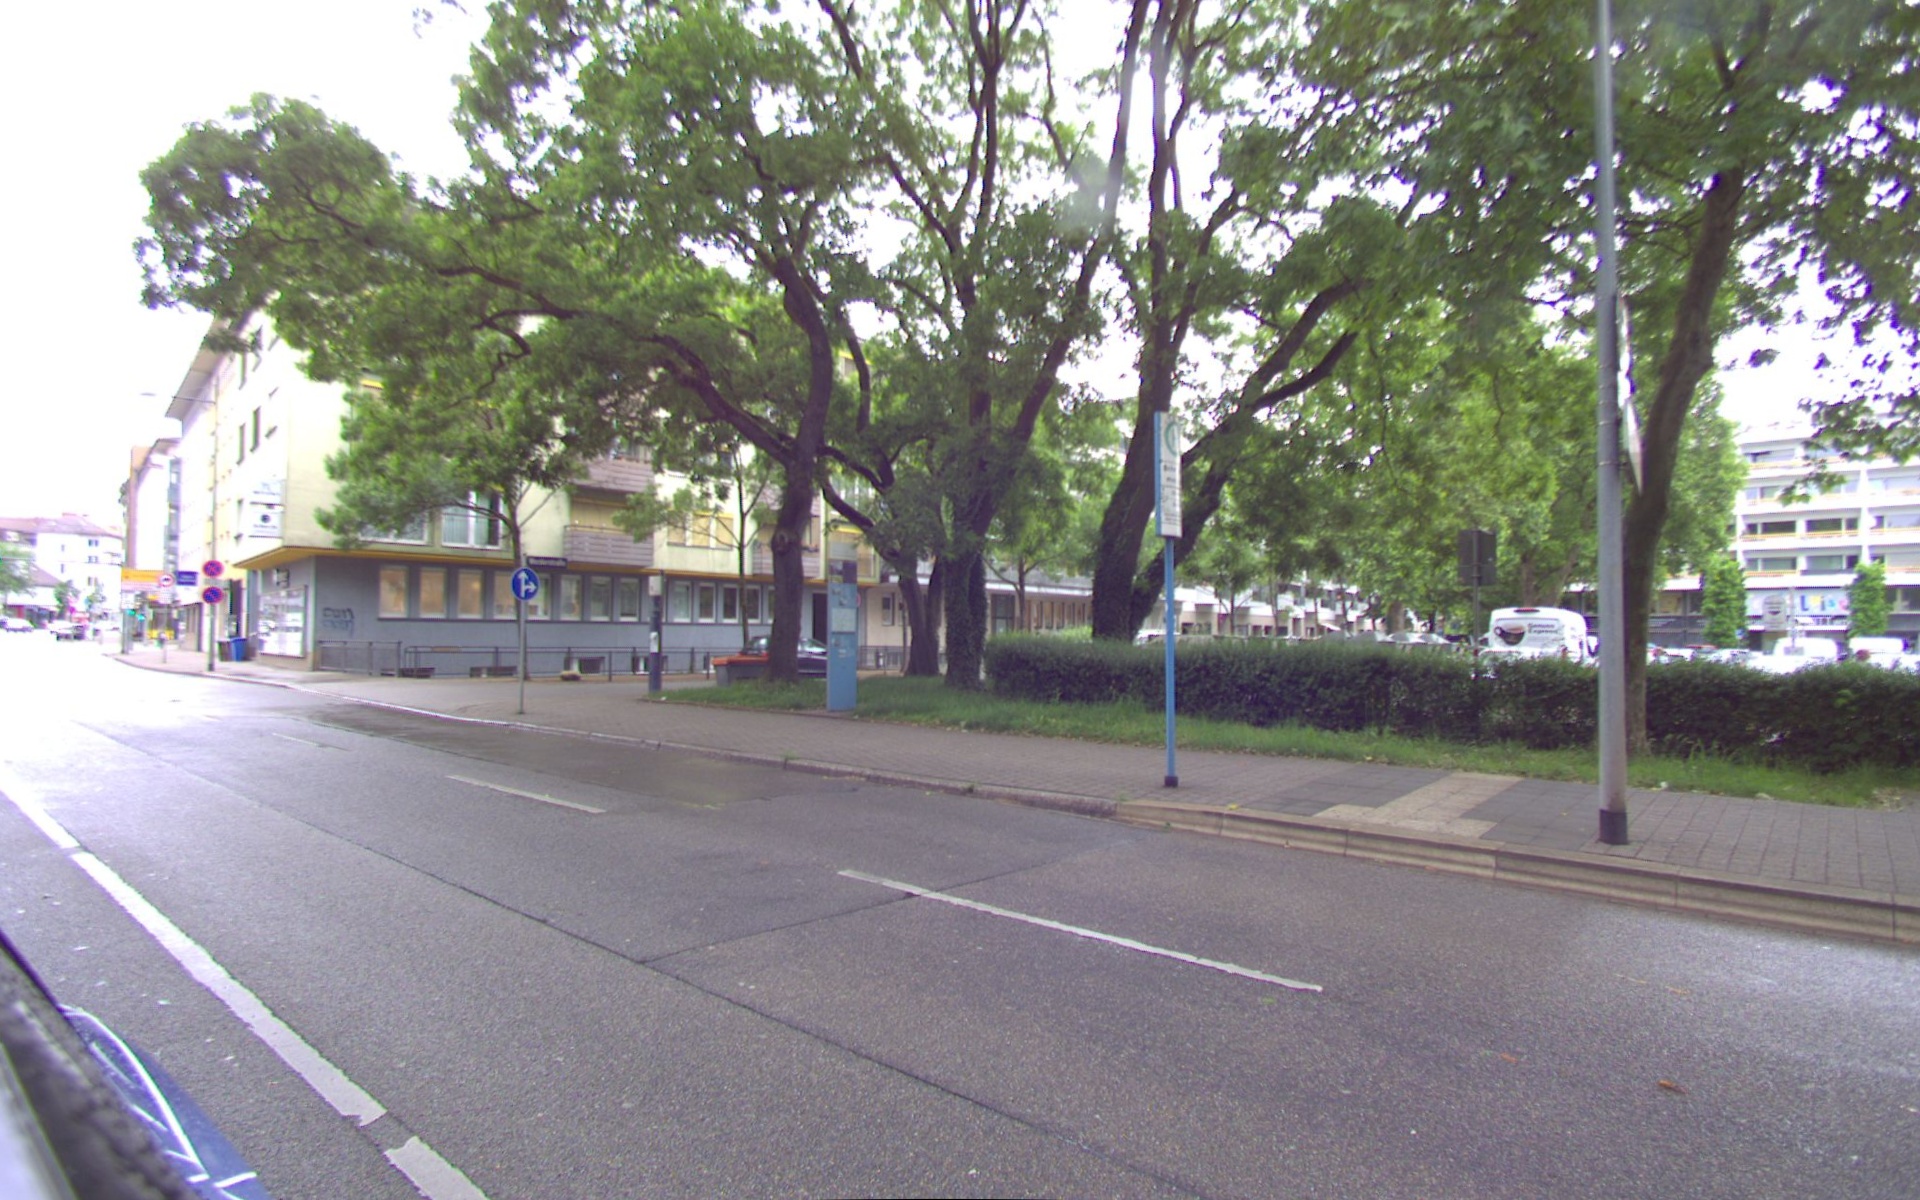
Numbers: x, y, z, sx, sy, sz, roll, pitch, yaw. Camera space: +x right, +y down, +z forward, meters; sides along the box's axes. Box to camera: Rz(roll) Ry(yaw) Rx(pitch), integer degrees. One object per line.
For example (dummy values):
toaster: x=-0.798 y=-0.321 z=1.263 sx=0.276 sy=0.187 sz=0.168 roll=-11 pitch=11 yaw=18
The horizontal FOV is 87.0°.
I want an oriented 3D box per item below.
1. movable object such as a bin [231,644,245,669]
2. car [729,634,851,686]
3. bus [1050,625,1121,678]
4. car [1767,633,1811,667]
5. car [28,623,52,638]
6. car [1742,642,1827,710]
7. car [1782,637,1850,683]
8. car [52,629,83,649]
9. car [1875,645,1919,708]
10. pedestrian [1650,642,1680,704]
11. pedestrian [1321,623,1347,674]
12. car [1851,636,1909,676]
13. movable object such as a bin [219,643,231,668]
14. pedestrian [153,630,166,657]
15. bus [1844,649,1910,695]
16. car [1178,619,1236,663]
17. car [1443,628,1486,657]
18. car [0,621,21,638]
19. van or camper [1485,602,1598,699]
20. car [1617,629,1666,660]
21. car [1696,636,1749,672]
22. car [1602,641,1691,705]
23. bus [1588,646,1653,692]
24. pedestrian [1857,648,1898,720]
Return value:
movable object such as a bin: x=-29.874 y=2.333 z=41.888 sx=0.409 sy=1.037 sz=0.354 roll=3 pitch=-4 yaw=-42
car: x=-5.201 y=1.853 z=31.290 sx=1.571 sy=1.500 sz=3.518 roll=-1 pitch=-4 yaw=41
bus: x=4.839 y=1.962 z=38.692 sx=1.703 sy=1.939 sz=3.697 roll=0 pitch=-3 yaw=24
car: x=41.987 y=2.492 z=51.306 sx=1.639 sy=1.536 sz=3.161 roll=-1 pitch=0 yaw=38
car: x=-106.615 y=3.563 z=117.246 sx=4.002 sy=1.670 sz=1.842 roll=-2 pitch=-4 yaw=45
car: x=19.240 y=1.735 z=23.569 sx=1.391 sy=1.446 sz=3.227 roll=-2 pitch=-4 yaw=41
car: x=28.176 y=1.958 z=33.356 sx=1.604 sy=1.439 sz=3.275 roll=-1 pitch=-3 yaw=40
car: x=-82.237 y=3.585 z=93.259 sx=4.002 sy=1.730 sz=1.863 roll=-2 pitch=-4 yaw=45
car: x=23.418 y=1.863 z=24.811 sx=1.391 sy=1.446 sz=3.227 roll=-2 pitch=-4 yaw=41
pedestrian: x=14.406 y=1.491 z=20.685 sx=0.465 sy=1.222 sz=0.433 roll=-1 pitch=0 yaw=34
pedestrian: x=9.099 y=1.173 z=24.615 sx=0.484 sy=1.222 sz=0.433 roll=-1 pitch=0 yaw=34
car: x=40.254 y=2.417 z=44.340 sx=1.639 sy=1.536 sz=3.161 roll=-1 pitch=0 yaw=38
movable object such as a bin: x=-30.356 y=2.282 z=41.810 sx=0.333 sy=1.037 sz=0.354 roll=3 pitch=-4 yaw=-42
pedestrian: x=-54.390 y=2.951 z=68.739 sx=0.586 sy=1.858 sz=0.565 roll=3 pitch=-4 yaw=-42
bus: x=33.159 y=2.567 z=36.662 sx=1.604 sy=1.551 sz=3.385 roll=-1 pitch=-3 yaw=40
car: x=11.762 y=1.961 z=47.983 sx=1.988 sy=2.029 sz=3.967 roll=0 pitch=-3 yaw=24
car: x=27.234 y=2.282 z=54.646 sx=1.428 sy=1.439 sz=2.926 roll=-2 pitch=-1 yaw=40
car: x=-108.490 y=3.321 z=115.328 sx=4.002 sy=1.866 sz=1.971 roll=-2 pitch=-4 yaw=45
van or camper: x=16.848 y=1.441 z=29.215 sx=2.097 sy=2.556 sz=4.367 roll=-1 pitch=-3 yaw=40
car: x=32.603 y=2.137 z=48.372 sx=1.604 sy=1.439 sz=3.275 roll=-1 pitch=-3 yaw=40
car: x=35.722 y=2.476 z=47.368 sx=1.837 sy=1.435 sz=3.780 roll=-1 pitch=0 yaw=39
car: x=16.735 y=1.753 z=24.624 sx=1.391 sy=1.446 sz=3.227 roll=-2 pitch=-4 yaw=41
bus: x=24.158 y=2.486 z=36.978 sx=1.604 sy=1.551 sz=3.385 roll=-1 pitch=-3 yaw=40
pedestrian: x=16.194 y=1.468 z=17.872 sx=0.465 sy=1.222 sz=0.433 roll=-1 pitch=0 yaw=34
